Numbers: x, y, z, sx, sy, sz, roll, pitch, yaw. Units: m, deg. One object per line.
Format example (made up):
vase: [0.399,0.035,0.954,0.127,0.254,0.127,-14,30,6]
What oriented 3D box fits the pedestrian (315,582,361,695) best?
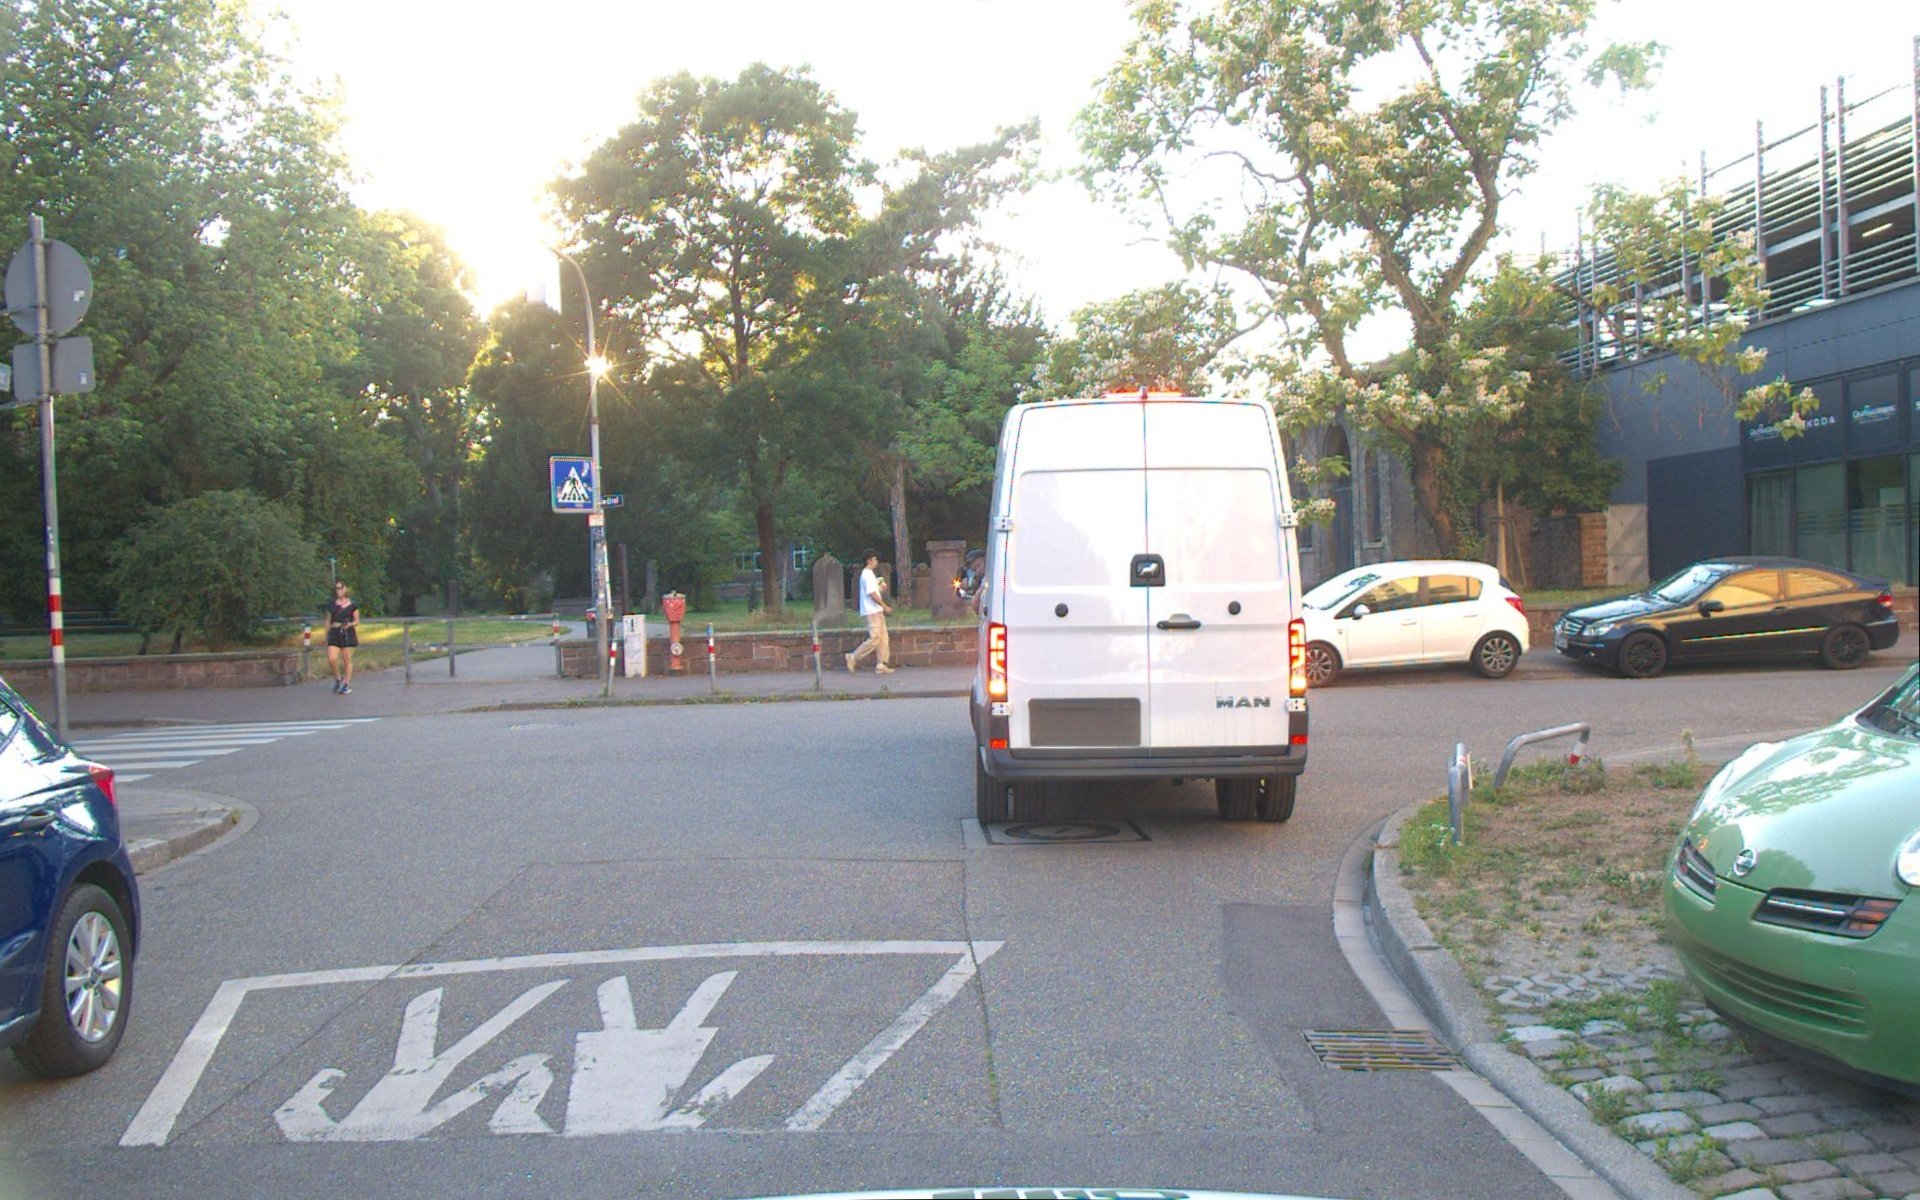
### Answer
pedestrian: [-9.452,0.569,25.148,0.637,1.677,0.670,0,1,-19]

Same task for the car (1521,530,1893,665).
car: [10.069,-0.042,22.542,4.204,1.529,1.824,-3,0,2]

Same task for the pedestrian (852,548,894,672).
pedestrian: [-1.314,0.148,25.007,0.581,1.840,0.620,-1,0,-1]

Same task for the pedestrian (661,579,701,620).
pedestrian: [-10.411,-0.019,61.718,1.302,1.469,1.046,-2,1,-3]

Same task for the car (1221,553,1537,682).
car: [5.690,0.207,22.770,3.779,1.601,1.957,-1,1,-4]

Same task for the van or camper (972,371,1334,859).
van or camper: [1.139,0.049,12.411,1.952,2.664,6.404,1,1,1]

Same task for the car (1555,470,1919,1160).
car: [4.355,0.419,5.076,4.318,1.660,1.844,-3,-1,-5]

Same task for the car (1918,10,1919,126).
car: [18.047,-9.521,27.591,1.952,2.049,4.002,-1,0,3]

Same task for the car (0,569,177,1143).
car: [-3.493,0.765,3.875,1.700,1.594,3.787,-3,1,-5]
